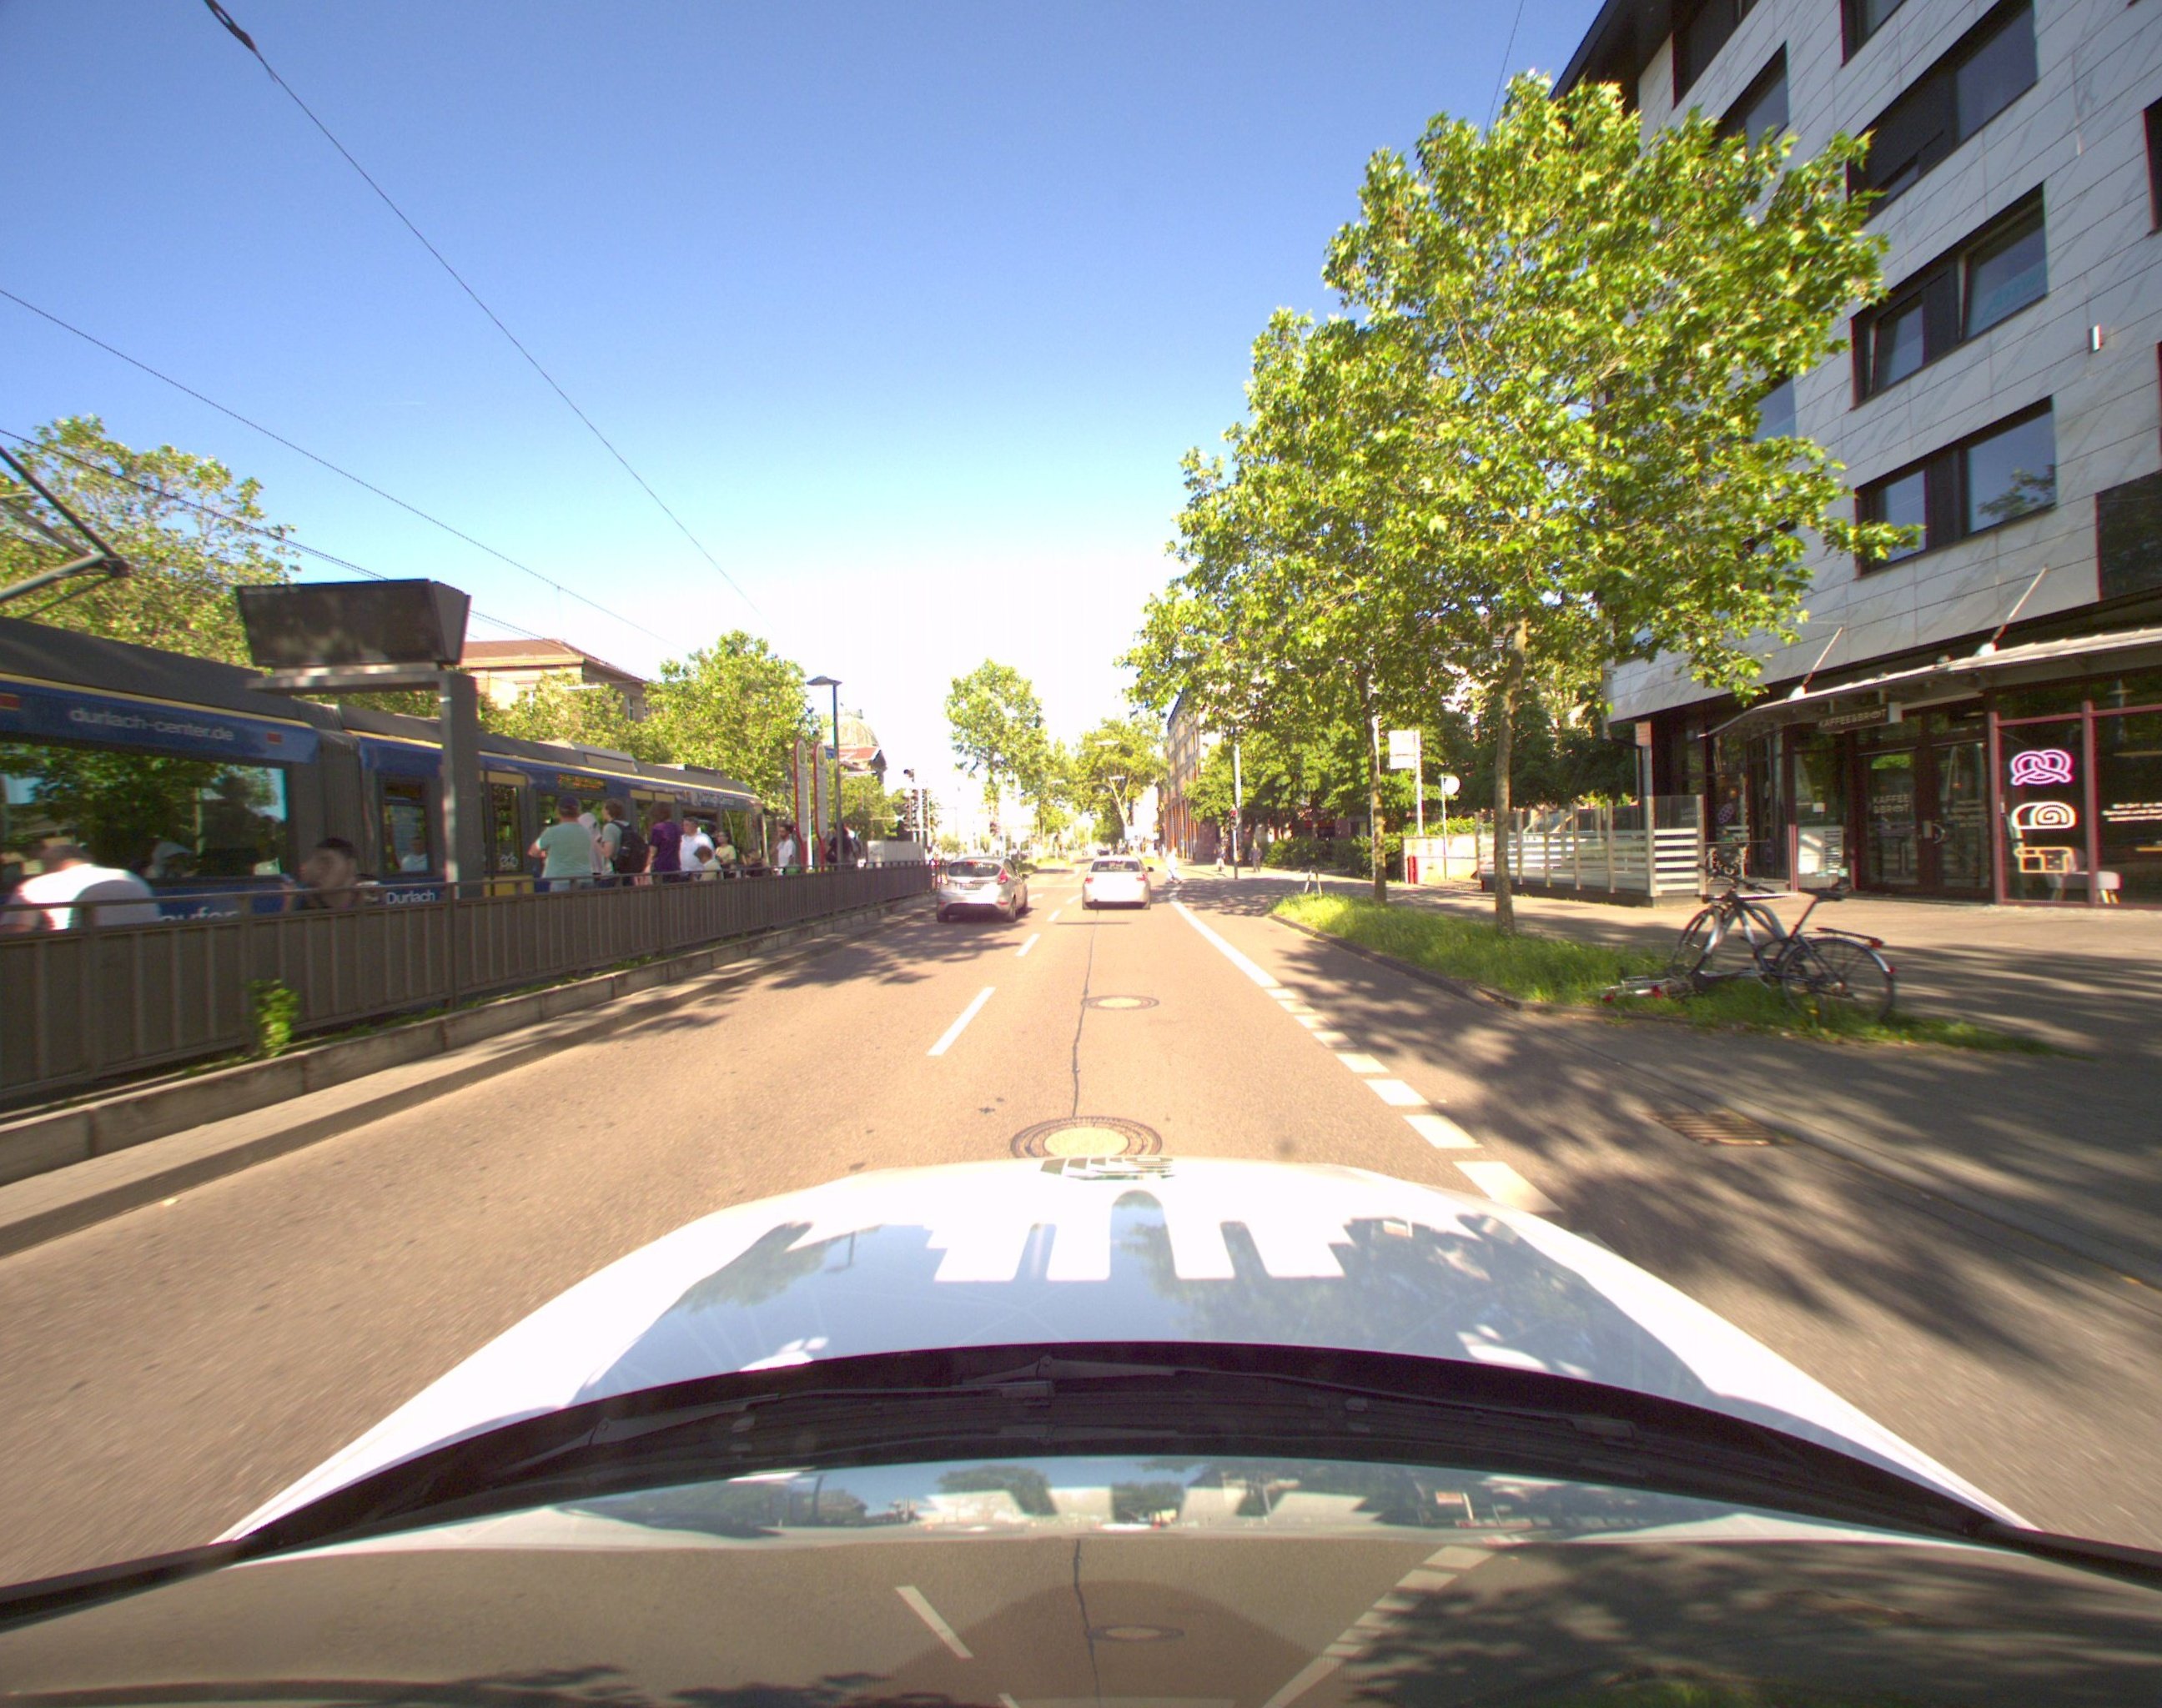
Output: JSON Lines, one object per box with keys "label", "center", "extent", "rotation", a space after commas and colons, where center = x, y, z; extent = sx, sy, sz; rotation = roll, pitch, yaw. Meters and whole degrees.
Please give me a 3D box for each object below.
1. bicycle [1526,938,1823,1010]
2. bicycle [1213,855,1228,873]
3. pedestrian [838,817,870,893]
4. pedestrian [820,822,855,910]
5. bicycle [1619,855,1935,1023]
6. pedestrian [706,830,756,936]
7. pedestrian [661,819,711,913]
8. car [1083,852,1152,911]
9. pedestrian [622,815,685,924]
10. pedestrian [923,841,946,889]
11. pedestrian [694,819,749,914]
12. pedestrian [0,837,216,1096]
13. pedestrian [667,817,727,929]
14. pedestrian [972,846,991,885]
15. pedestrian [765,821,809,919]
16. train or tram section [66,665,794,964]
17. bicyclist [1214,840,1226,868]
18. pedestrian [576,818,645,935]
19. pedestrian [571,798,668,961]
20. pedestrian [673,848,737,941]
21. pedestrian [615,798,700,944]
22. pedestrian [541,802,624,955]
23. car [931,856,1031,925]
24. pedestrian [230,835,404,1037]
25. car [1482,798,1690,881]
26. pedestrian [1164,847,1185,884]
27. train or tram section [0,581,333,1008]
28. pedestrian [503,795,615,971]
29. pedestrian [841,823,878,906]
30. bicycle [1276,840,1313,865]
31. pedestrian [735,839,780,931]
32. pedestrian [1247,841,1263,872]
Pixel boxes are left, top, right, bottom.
{"label": "bicycle", "center": [5.061, 1.019, 7.125], "extent": [1.602, 0.353, 1.389], "rotation": [-2, 0, 2]}
{"label": "bicycle", "center": [8.369, 0.582, 48.885], "extent": [0.826, 1.041, 1.880], "rotation": [-3, 0, 11]}
{"label": "pedestrian", "center": [-5.353, 0.020, 19.233], "extent": [0.546, 1.734, 0.539], "rotation": [-2, 0, -2]}
{"label": "pedestrian", "center": [-4.976, 0.240, 16.672], "extent": [0.548, 1.734, 0.538], "rotation": [-2, 0, -9]}
{"label": "bicycle", "center": [5.499, 0.593, 6.621], "extent": [0.788, 1.133, 1.839], "rotation": [-2, 0, -11]}
{"label": "pedestrian", "center": [-6.039, 0.494, 14.083], "extent": [0.551, 1.770, 0.611], "rotation": [-2, 0, -2]}
{"label": "pedestrian", "center": [-7.364, 0.224, 15.197], "extent": [0.607, 1.702, 0.545], "rotation": [-2, 0, -3]}
{"label": "car", "center": [1.080, 0.692, 22.323], "extent": [1.722, 1.390, 3.845], "rotation": [0, 1, 5]}
{"label": "pedestrian", "center": [-6.737, 0.237, 12.852], "extent": [0.617, 1.649, 0.622], "rotation": [-2, 0, -2]}
{"label": "pedestrian", "center": [-4.834, 0.366, 26.885], "extent": [0.629, 1.557, 0.646], "rotation": [-2, 0, -3]}
{"label": "pedestrian", "center": [-6.658, 0.222, 15.105], "extent": [0.631, 1.702, 0.746], "rotation": [-2, 0, -2]}
{"label": "pedestrian", "center": [-5.359, 0.573, 4.463], "extent": [0.532, 1.299, 0.604], "rotation": [-3, 0, -2]}
{"label": "pedestrian", "center": [-5.988, 0.285, 12.700], "extent": [0.500, 1.702, 0.615], "rotation": [-2, 0, 35]}
{"label": "pedestrian", "center": [-4.317, 0.501, 35.305], "extent": [0.642, 1.619, 0.636], "rotation": [-1, -3, -25]}
{"label": "pedestrian", "center": [-5.273, 0.275, 14.631], "extent": [0.504, 1.702, 0.611], "rotation": [-2, 0, -2]}
{"label": "train or tram section", "center": [-9.407, -0.361, 15.441], "extent": [2.903, 3.260, 13.117], "rotation": [0, -1, 2]}
{"label": "bicyclist", "center": [8.354, 0.006, 48.931], "extent": [0.654, 1.657, 0.767], "rotation": [-3, 0, 10]}
{"label": "pedestrian", "center": [-6.338, 0.299, 10.988], "extent": [0.543, 1.519, 0.531], "rotation": [-2, 0, 1]}
{"label": "pedestrian", "center": [-5.004, 0.268, 8.860], "extent": [0.658, 1.696, 0.571], "rotation": [-2, 0, 2]}
{"label": "pedestrian", "center": [-5.006, 0.524, 10.867], "extent": [0.543, 1.192, 0.531], "rotation": [-2, 0, 1]}
{"label": "pedestrian", "center": [-5.148, 0.201, 9.929], "extent": [0.658, 1.696, 0.571], "rotation": [-2, 0, 2]}
{"label": "pedestrian", "center": [-5.784, 0.275, 9.472], "extent": [0.513, 1.708, 0.621], "rotation": [-2, 0, 1]}
{"label": "car", "center": [-2.202, 0.762, 18.789], "extent": [1.653, 1.409, 3.635], "rotation": [-1, 0, 3]}
{"label": "pedestrian", "center": [-5.065, 0.515, 5.431], "extent": [0.532, 1.246, 0.604], "rotation": [-3, 0, 0]}
{"label": "car", "center": [14.842, -0.416, 24.144], "extent": [4.879, 1.984, 1.914], "rotation": [-4, 0, 1]}
{"label": "pedestrian", "center": [4.062, 0.499, 35.455], "extent": [0.824, 1.575, 0.741], "rotation": [-1, 0, 9]}
{"label": "train or tram section", "center": [-9.871, -0.515, 0.935], "extent": [2.903, 3.260, 15.899], "rotation": [0, -1, 2]}
{"label": "pedestrian", "center": [-5.083, 0.269, 7.958], "extent": [0.658, 1.634, 0.571], "rotation": [-2, 0, 2]}
{"label": "pedestrian", "center": [-4.782, 0.223, 17.578], "extent": [0.552, 1.734, 0.533], "rotation": [-2, 0, -39]}
{"label": "bicycle", "center": [12.558, -0.090, 47.866], "extent": [1.987, 1.314, 0.574], "rotation": [-3, 0, 4]}
{"label": "pedestrian", "center": [-4.773, 0.451, 12.037], "extent": [0.414, 1.316, 0.507], "rotation": [-2, 0, 0]}
{"label": "pedestrian", "center": [9.330, 0.115, 43.633], "extent": [0.621, 1.629, 0.949], "rotation": [-1, 0, 24]}
